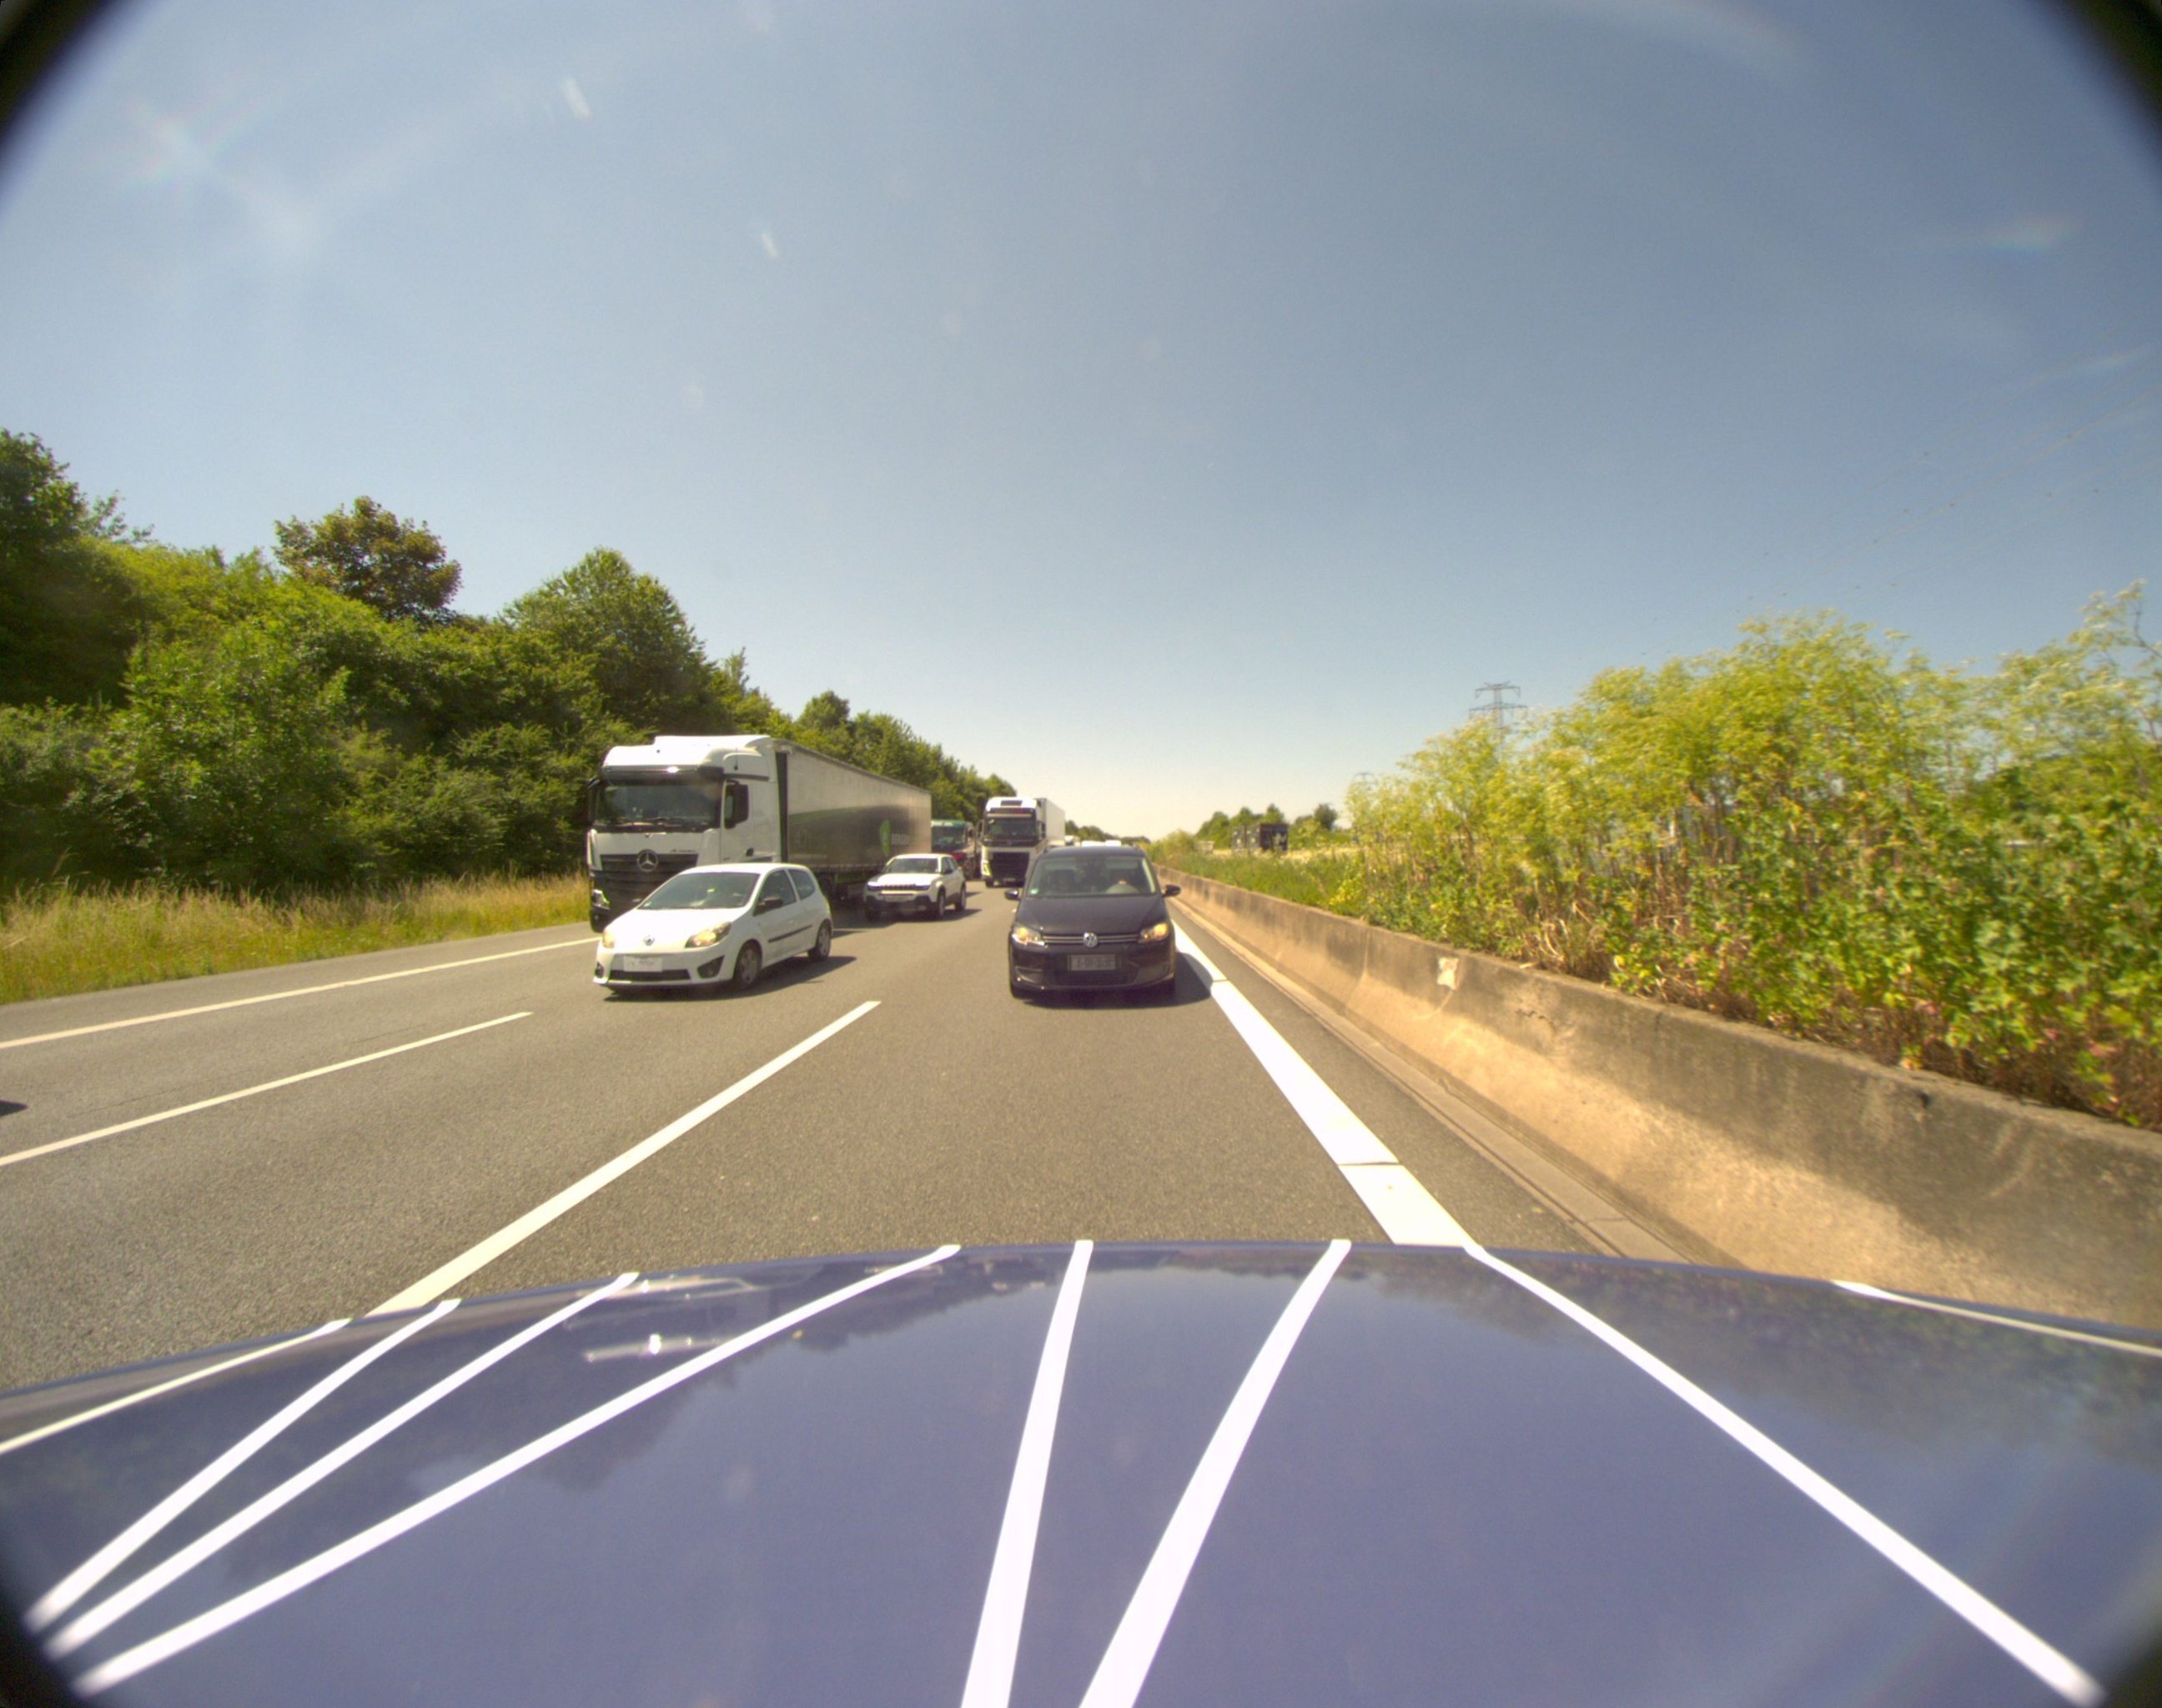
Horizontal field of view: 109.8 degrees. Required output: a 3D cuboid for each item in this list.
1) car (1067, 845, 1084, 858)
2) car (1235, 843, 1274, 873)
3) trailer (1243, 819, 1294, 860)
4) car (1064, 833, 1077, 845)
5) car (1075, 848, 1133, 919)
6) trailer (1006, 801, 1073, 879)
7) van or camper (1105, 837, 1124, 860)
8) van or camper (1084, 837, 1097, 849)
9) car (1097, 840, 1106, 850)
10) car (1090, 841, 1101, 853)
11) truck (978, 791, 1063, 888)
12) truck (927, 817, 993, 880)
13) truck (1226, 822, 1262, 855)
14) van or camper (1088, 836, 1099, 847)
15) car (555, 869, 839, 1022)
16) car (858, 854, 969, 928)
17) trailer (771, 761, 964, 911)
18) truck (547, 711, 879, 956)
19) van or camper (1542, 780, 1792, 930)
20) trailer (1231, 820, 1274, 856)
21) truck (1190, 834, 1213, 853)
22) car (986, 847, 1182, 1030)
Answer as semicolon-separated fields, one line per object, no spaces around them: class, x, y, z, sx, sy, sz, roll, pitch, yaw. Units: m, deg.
car;-0.554;-0.282;83.296;1.650;1.336;3.381;-1;1;3
car;10.492;0.204;46.171;1.585;1.744;3.688;-1;1;2
trailer;18.497;-1.397;75.381;3.190;3.740;8.200;-1;1;2
car;-1.731;-2.534;132.162;1.998;2.002;4.000;-1;1;2
car;0.647;0.704;19.954;1.357;1.630;2.994;-2;1;3
trailer;-2.186;-0.780;43.778;2.776;3.951;9.156;-1;1;3
van or camper;3.712;-0.668;82.952;1.956;2.368;4.037;-2;1;3
van or camper;1.698;-1.989;136.179;2.189;2.018;4.364;-1;1;3
car;4.713;-2.002;173.436;1.998;2.302;4.229;-1;1;3
car;2.973;-1.442;155.018;1.998;2.302;4.229;-1;1;1
truck;-2.617;-0.669;35.838;2.750;3.972;8.361;-1;1;3
truck;-6.436;-0.336;41.110;2.299;3.128;5.675;-1;1;3
truck;18.770;-1.737;87.676;3.079;3.688;5.462;-1;1;1
van or camper;3.231;-3.338;197.525;2.745;2.680;5.363;-1;1;3
car;-4.590;0.987;9.780;1.609;1.426;3.809;0;1;2
car;-4.013;0.828;18.838;1.748;1.549;3.884;0;1;2
trailer;-6.921;-0.601;27.345;2.879;4.133;12.075;-1;1;3
truck;-7.428;-0.401;17.246;2.879;4.133;8.475;-1;1;3
van or camper;12.630;0.001;16.871;2.053;2.844;4.649;-1;1;2
trailer;18.679;-1.715;83.312;3.132;3.737;7.869;-1;1;1
truck;21.341;-1.887;135.447;2.771;3.269;11.820;-1;1;3
car;0.143;0.756;9.556;1.758;1.571;5.291;-1;1;2
